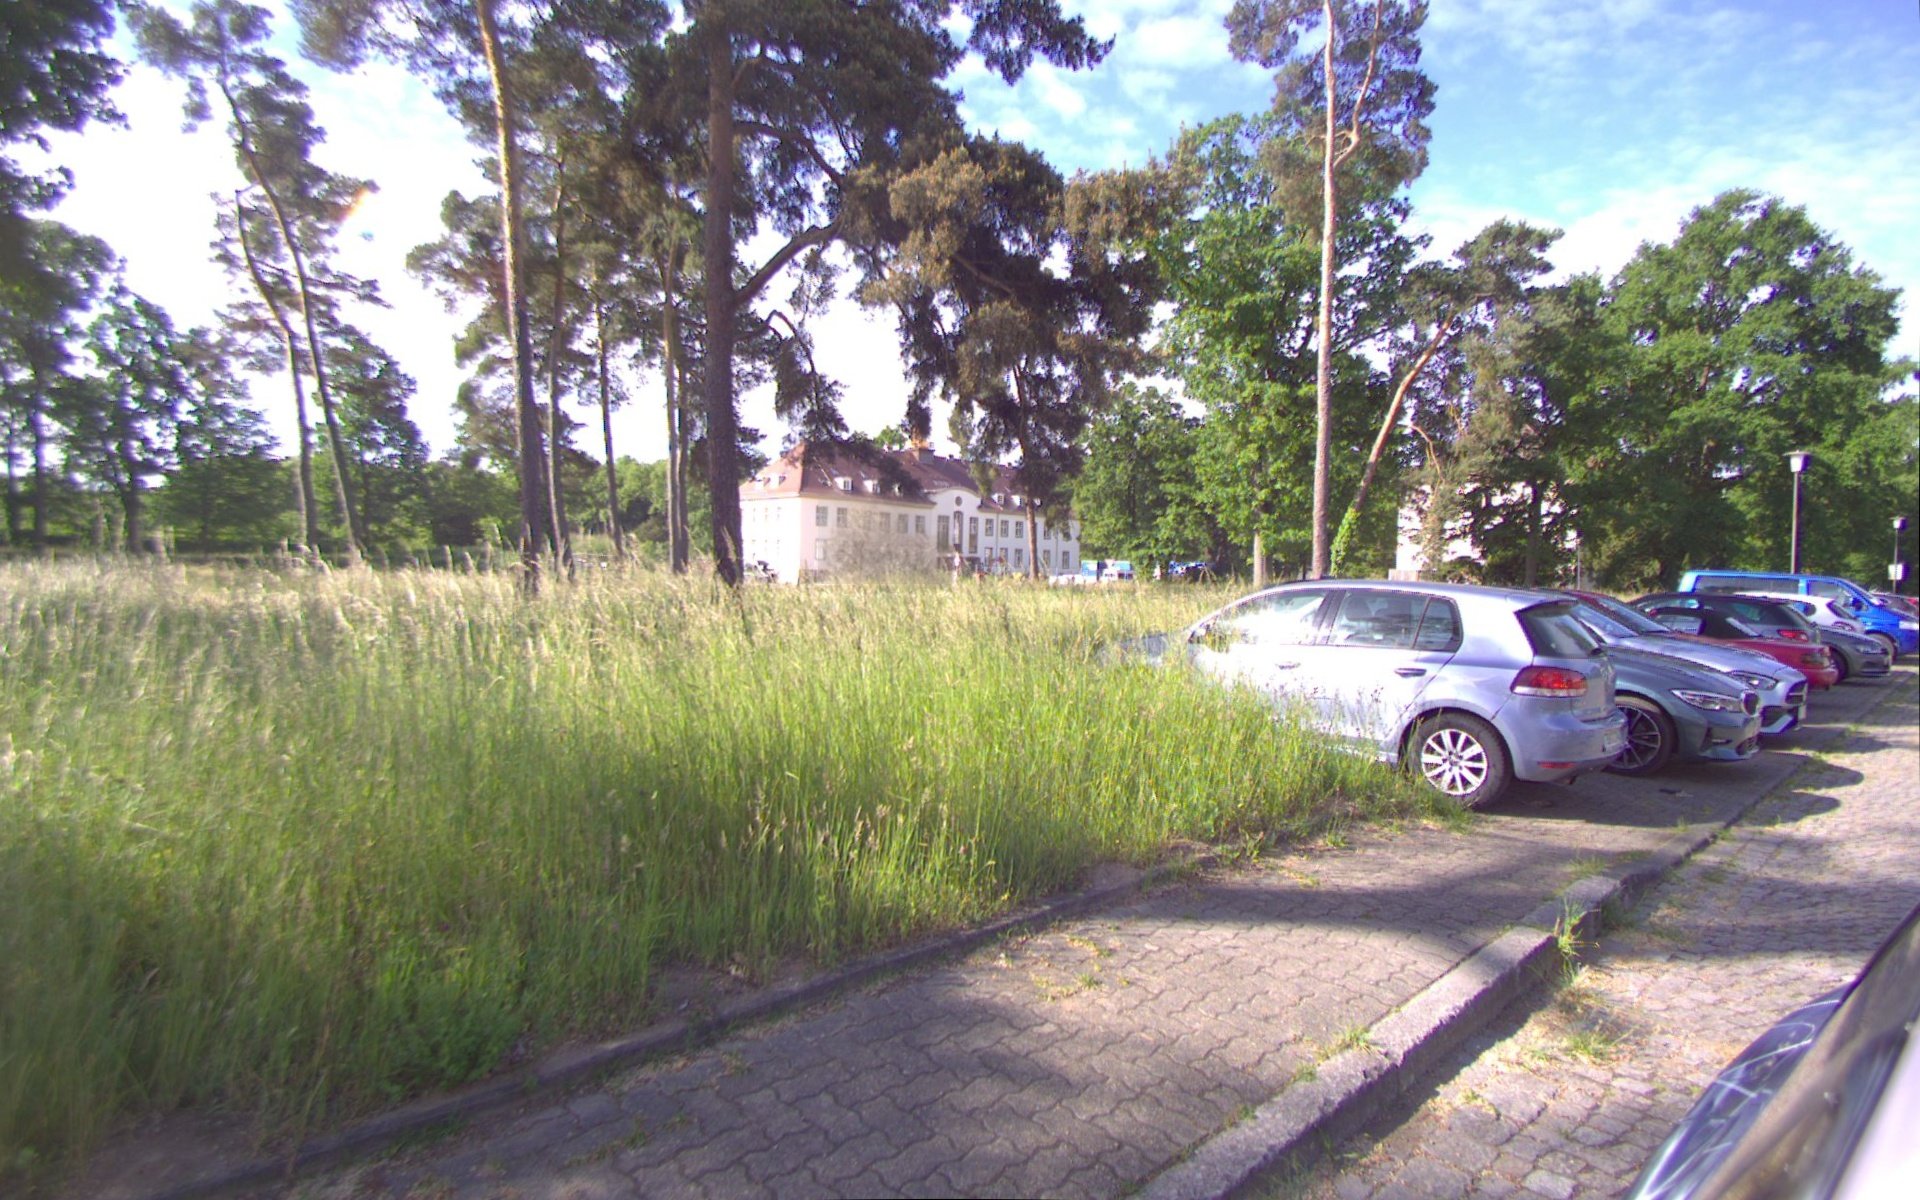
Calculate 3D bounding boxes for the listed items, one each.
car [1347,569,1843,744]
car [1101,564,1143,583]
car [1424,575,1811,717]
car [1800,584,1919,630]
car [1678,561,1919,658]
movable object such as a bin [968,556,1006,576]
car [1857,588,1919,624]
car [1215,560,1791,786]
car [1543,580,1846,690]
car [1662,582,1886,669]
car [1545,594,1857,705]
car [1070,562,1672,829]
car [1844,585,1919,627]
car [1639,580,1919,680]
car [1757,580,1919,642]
[{"bbox_3d":[6.955,0.461,11.484,1.795,1.419,4.418,0,4,-43],"label":"car"},{"bbox_3d":[17.547,-2.855,109.328,4.691,2.038,1.997,0,2,-42],"label":"car"},{"bbox_3d":[8.408,0.468,13.203,1.633,1.410,3.914,0,4,-43],"label":"car"},{"bbox_3d":[33.660,0.231,37.225,1.725,1.537,3.997,0,2,-39],"label":"car"},{"bbox_3d":[20.107,0.143,23.933,1.965,2.038,4.724,0,2,-41],"label":"car"},{"bbox_3d":[3.405,-4.273,126.250,1.994,2.351,4.909,3,2,43],"label":"movable object such as a bin"},{"bbox_3d":[44.525,0.263,47.020,1.725,1.635,3.996,-2,0,-38],"label":"car"},{"bbox_3d":[4.918,0.468,9.674,4.498,1.535,1.797,5,4,44],"label":"car"},{"bbox_3d":[11.892,0.474,16.563,1.523,1.509,3.775,0,2,-43],"label":"car"},{"bbox_3d":[16.249,0.446,20.306,1.423,1.509,3.264,0,2,-40],"label":"car"},{"bbox_3d":[10.390,0.606,14.355,1.396,1.271,3.353,0,2,-43],"label":"car"},{"bbox_3d":[3.011,0.498,8.057,1.839,1.478,4.022,0,3,-43],"label":"car"},{"bbox_3d":[41.137,0.241,43.887,1.725,1.763,3.995,0,1,-39],"label":"car"},{"bbox_3d":[14.488,0.441,18.066,1.478,1.509,3.629,0,2,-33],"label":"car"},{"bbox_3d":[26.400,0.282,30.070,1.725,1.660,3.997,0,2,-39],"label":"car"}]
